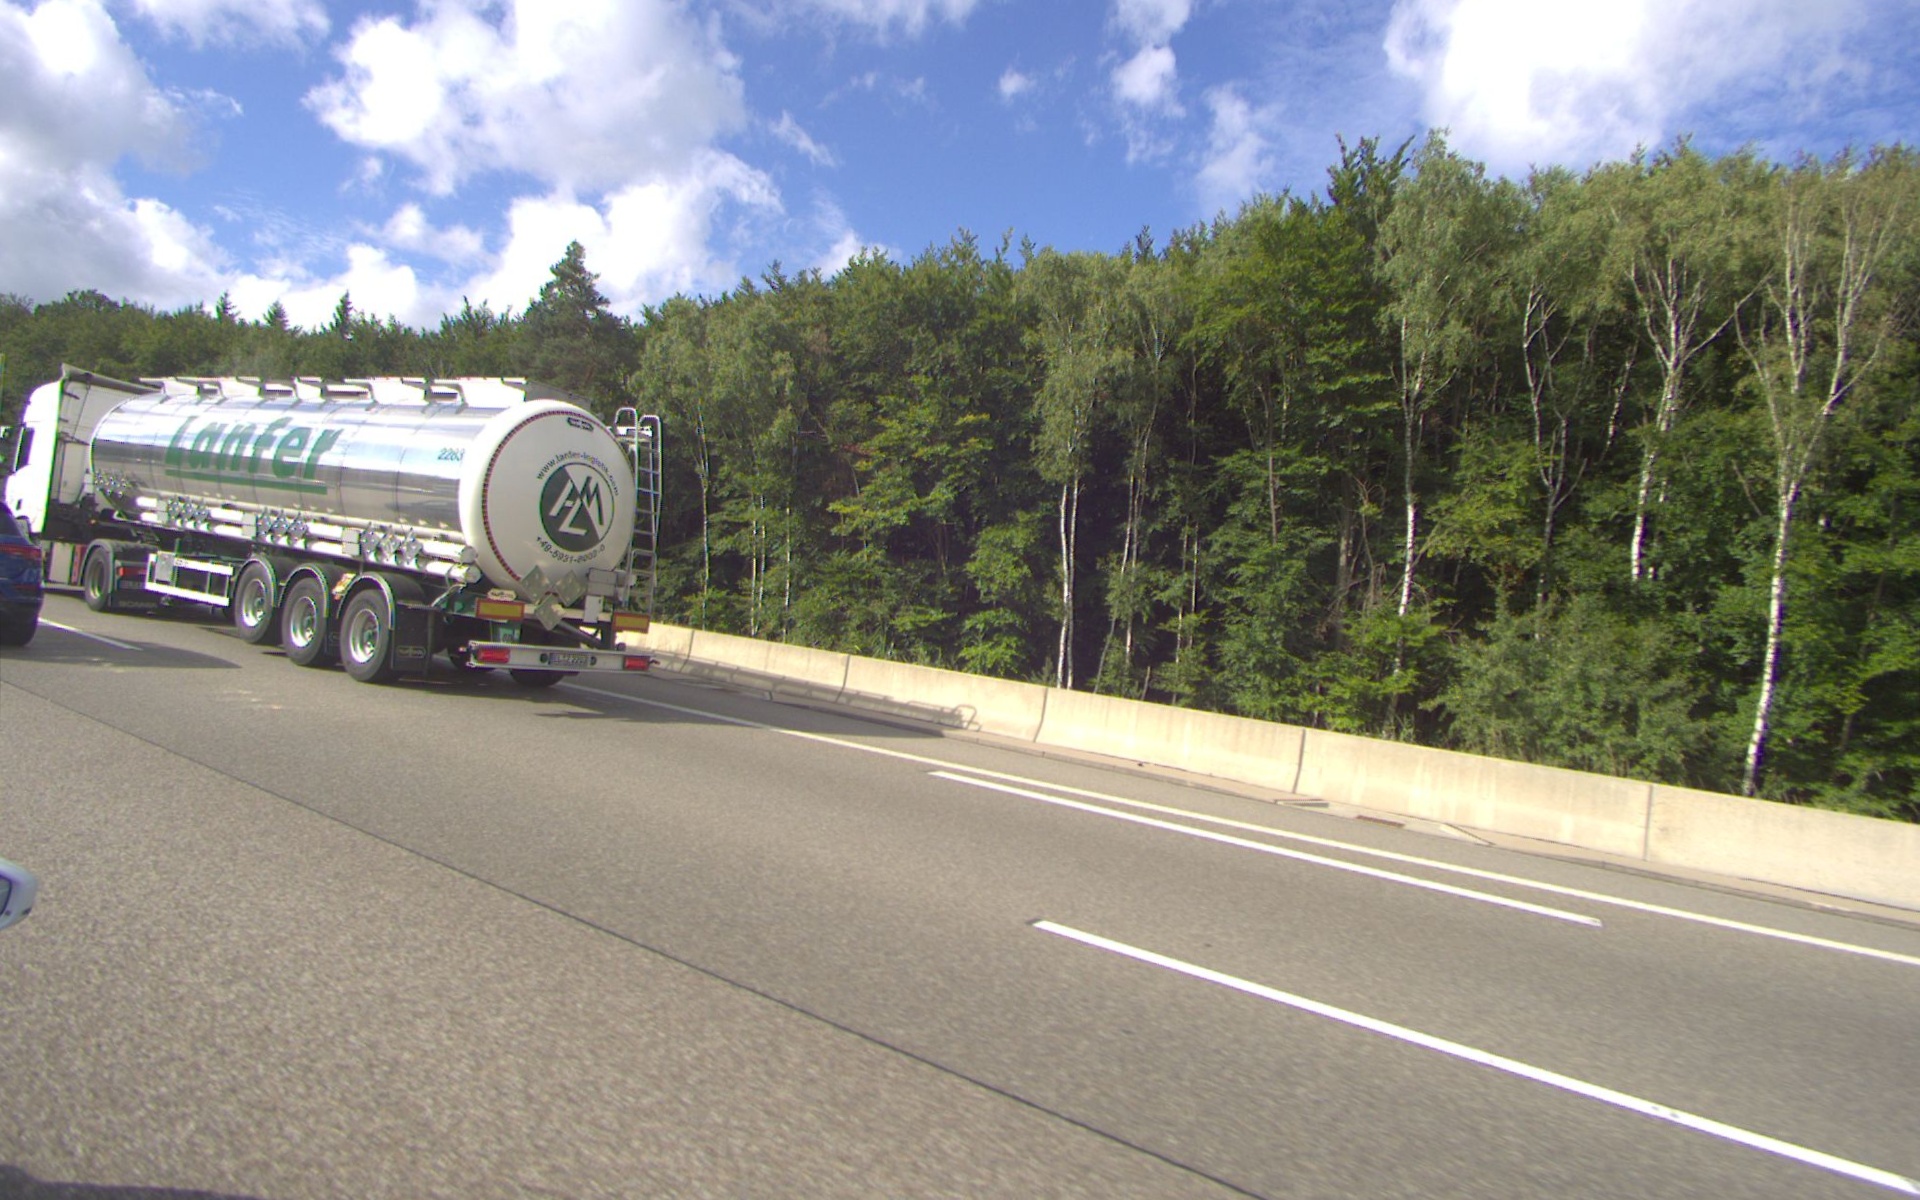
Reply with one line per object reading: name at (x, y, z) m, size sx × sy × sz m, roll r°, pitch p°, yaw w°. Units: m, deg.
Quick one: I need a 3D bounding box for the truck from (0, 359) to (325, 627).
truck at (-14.326, -1.865, 17.774) m, size 5.982 × 3.870 × 2.652 m, roll 7°, pitch 0°, yaw 32°

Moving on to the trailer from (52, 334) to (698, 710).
trailer at (-9.030, -1.244, 14.414) m, size 11.665 × 3.813 × 2.652 m, roll 7°, pitch 0°, yaw 32°

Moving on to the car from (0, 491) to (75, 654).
car at (-11.342, -0.495, 10.532) m, size 4.383 × 1.548 × 1.776 m, roll 6°, pitch -2°, yaw 31°
